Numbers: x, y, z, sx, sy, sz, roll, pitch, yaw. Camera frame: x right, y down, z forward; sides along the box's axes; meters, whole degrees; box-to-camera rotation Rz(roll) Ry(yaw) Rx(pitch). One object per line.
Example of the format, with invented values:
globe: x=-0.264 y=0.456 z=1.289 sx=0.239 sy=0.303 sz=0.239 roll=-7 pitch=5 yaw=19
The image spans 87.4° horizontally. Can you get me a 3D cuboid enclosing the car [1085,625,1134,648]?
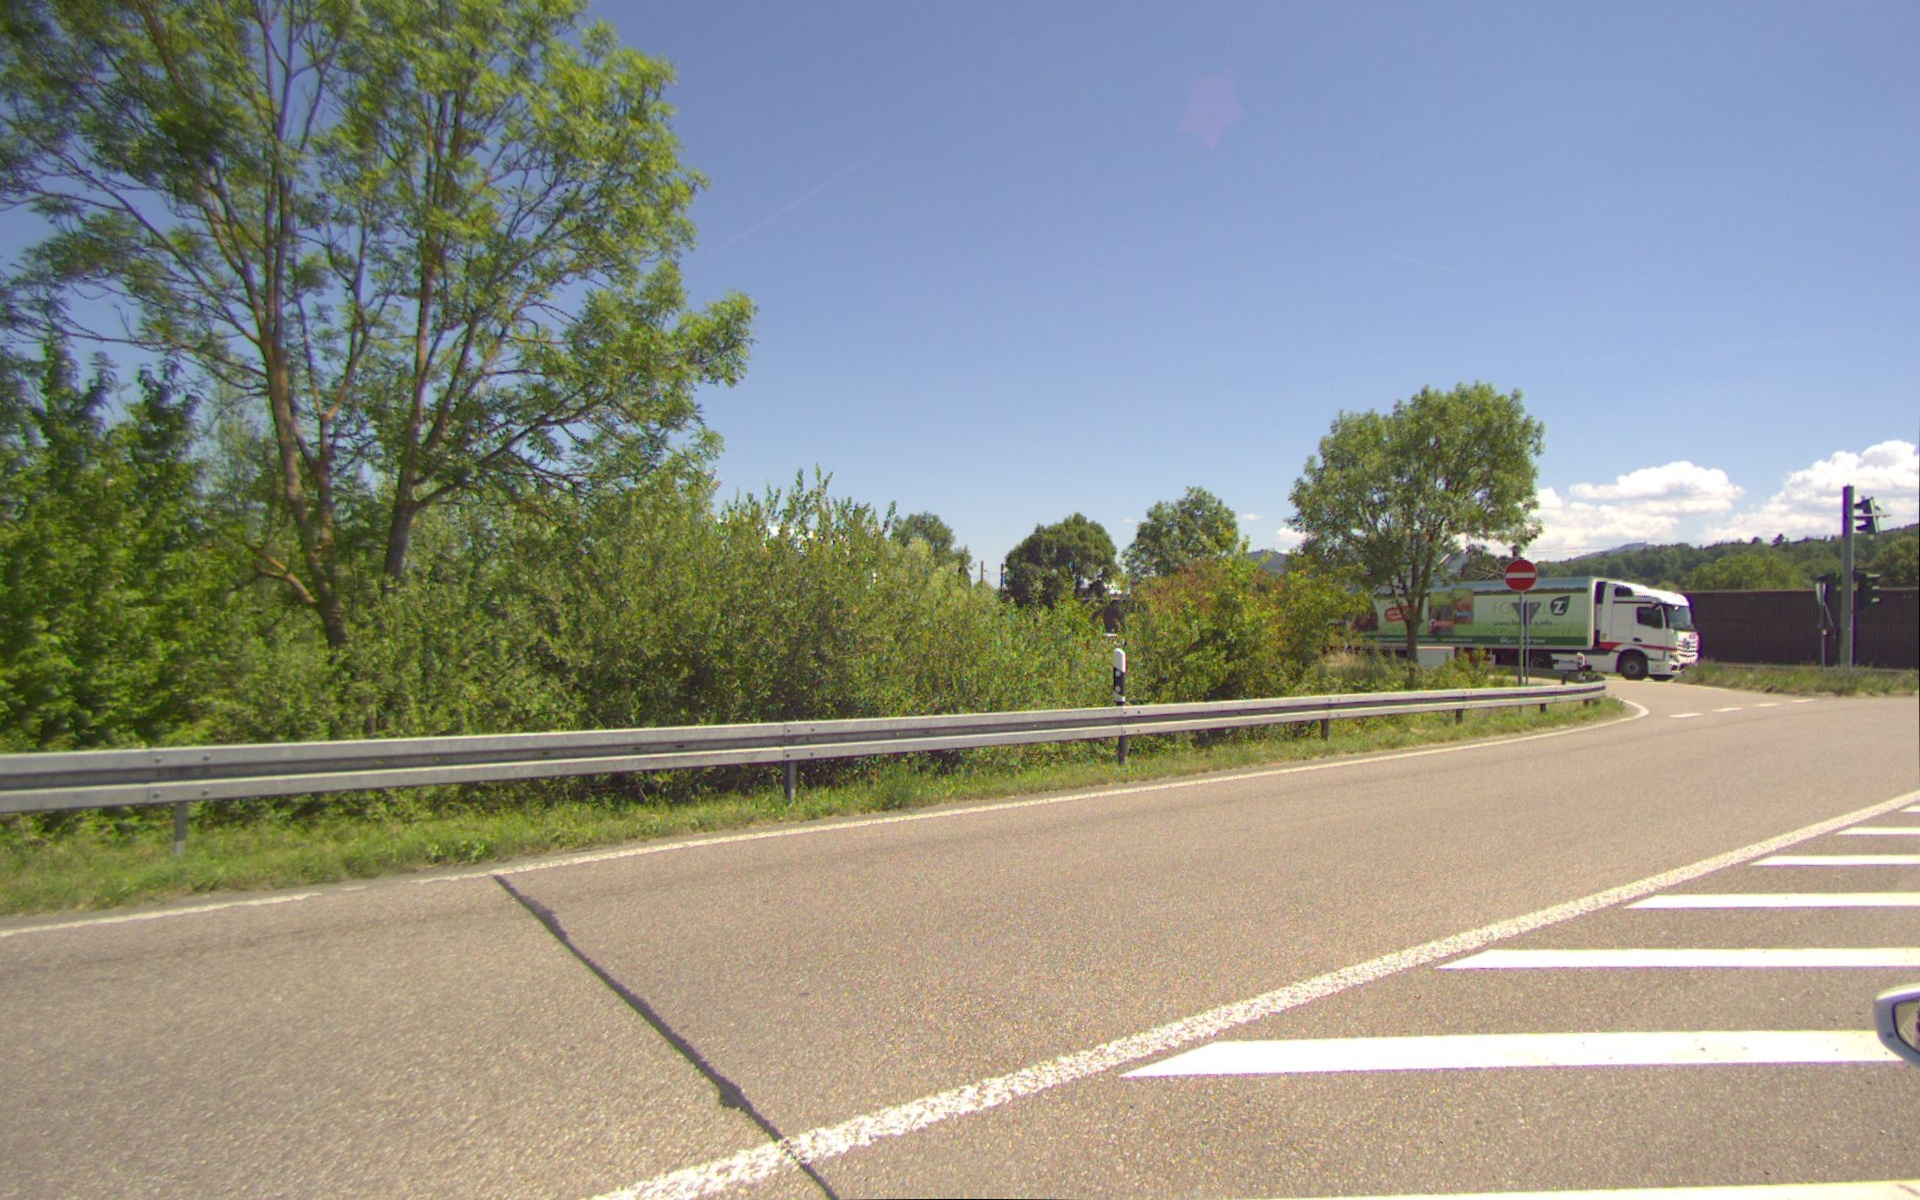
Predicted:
car: x=10.353 y=2.507 z=69.666 sx=1.537 sy=1.484 sz=3.455 roll=2 pitch=-1 yaw=-31

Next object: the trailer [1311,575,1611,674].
trailer: x=22.814 y=1.047 z=47.180 sx=3.027 sy=4.007 sz=13.074 roll=2 pitch=-1 yaw=-31

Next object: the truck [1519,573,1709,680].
truck: x=26.509 y=1.045 z=40.947 sx=3.027 sy=4.007 sz=5.736 roll=2 pitch=-1 yaw=-31
